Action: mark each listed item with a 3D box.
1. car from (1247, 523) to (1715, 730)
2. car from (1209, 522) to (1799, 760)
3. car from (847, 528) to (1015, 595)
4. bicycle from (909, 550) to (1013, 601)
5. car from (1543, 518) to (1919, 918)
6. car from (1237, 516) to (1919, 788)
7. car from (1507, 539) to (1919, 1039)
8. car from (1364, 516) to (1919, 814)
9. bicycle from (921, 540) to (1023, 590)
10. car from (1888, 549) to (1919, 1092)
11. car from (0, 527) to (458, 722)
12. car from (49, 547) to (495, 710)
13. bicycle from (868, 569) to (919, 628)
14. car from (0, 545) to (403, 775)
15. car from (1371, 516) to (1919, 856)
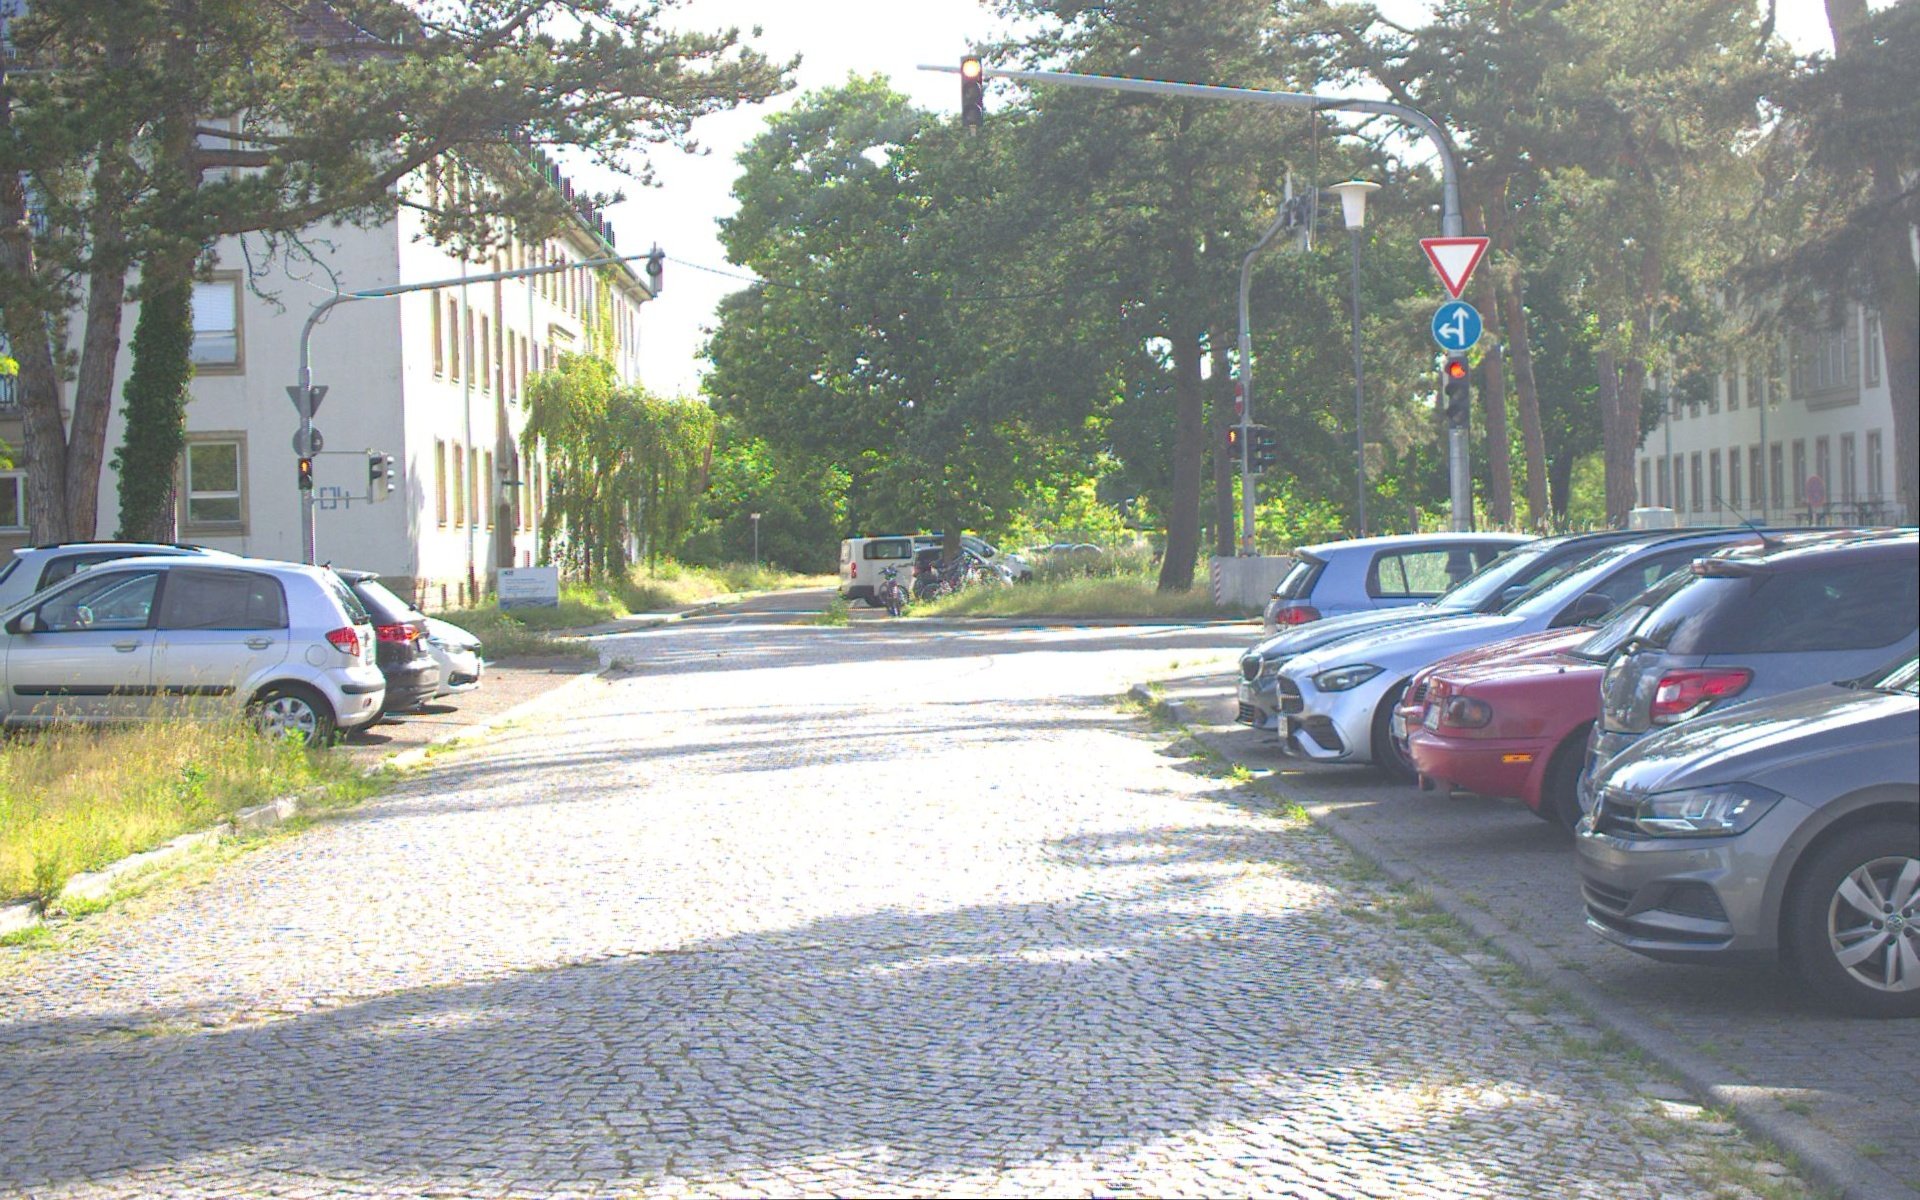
[{"bbox_3d":[4.028,0.183,26.905,3.343,1.477,1.646,-1,1,-2],"label":"car"},{"bbox_3d":[3.773,0.262,24.263,3.835,1.524,1.646,-1,1,-2],"label":"car"},{"bbox_3d":[-0.808,-1.056,93.327,4.480,1.722,2.000,-1,1,-1],"label":"car"},{"bbox_3d":[0.018,-0.548,75.866,2.172,1.096,0.807,-1,1,-10],"label":"bicycle"},{"bbox_3d":[4.333,0.417,14.265,3.478,1.524,1.646,-1,1,-2],"label":"car"},{"bbox_3d":[3.875,0.289,21.492,4.033,1.524,1.646,-2,1,-4],"label":"car"},{"bbox_3d":[3.819,0.515,11.342,3.675,1.462,1.646,-2,1,-2],"label":"car"},{"bbox_3d":[4.203,0.322,19.313,3.602,1.524,1.646,-1,1,-2],"label":"car"},{"bbox_3d":[0.266,-0.784,77.002,2.172,1.096,0.807,-1,1,-10],"label":"bicycle"},{"bbox_3d":[4.388,0.508,8.459,3.694,1.460,1.645,-3,1,0],"label":"car"},{"bbox_3d":[-6.732,0.200,31.428,3.987,1.596,2.000,2,1,-1],"label":"car"},{"bbox_3d":[-6.703,0.255,33.831,3.987,1.448,2.000,2,1,-1],"label":"car"},{"bbox_3d":[-1.413,-0.035,72.400,0.804,1.165,2.181,-3,1,-7],"label":"bicycle"},{"bbox_3d":[-6.349,0.435,26.044,3.986,1.595,2.000,-2,1,-3],"label":"car"},{"bbox_3d":[3.902,0.374,16.953,3.478,1.524,1.646,-1,1,-2],"label":"car"}]
